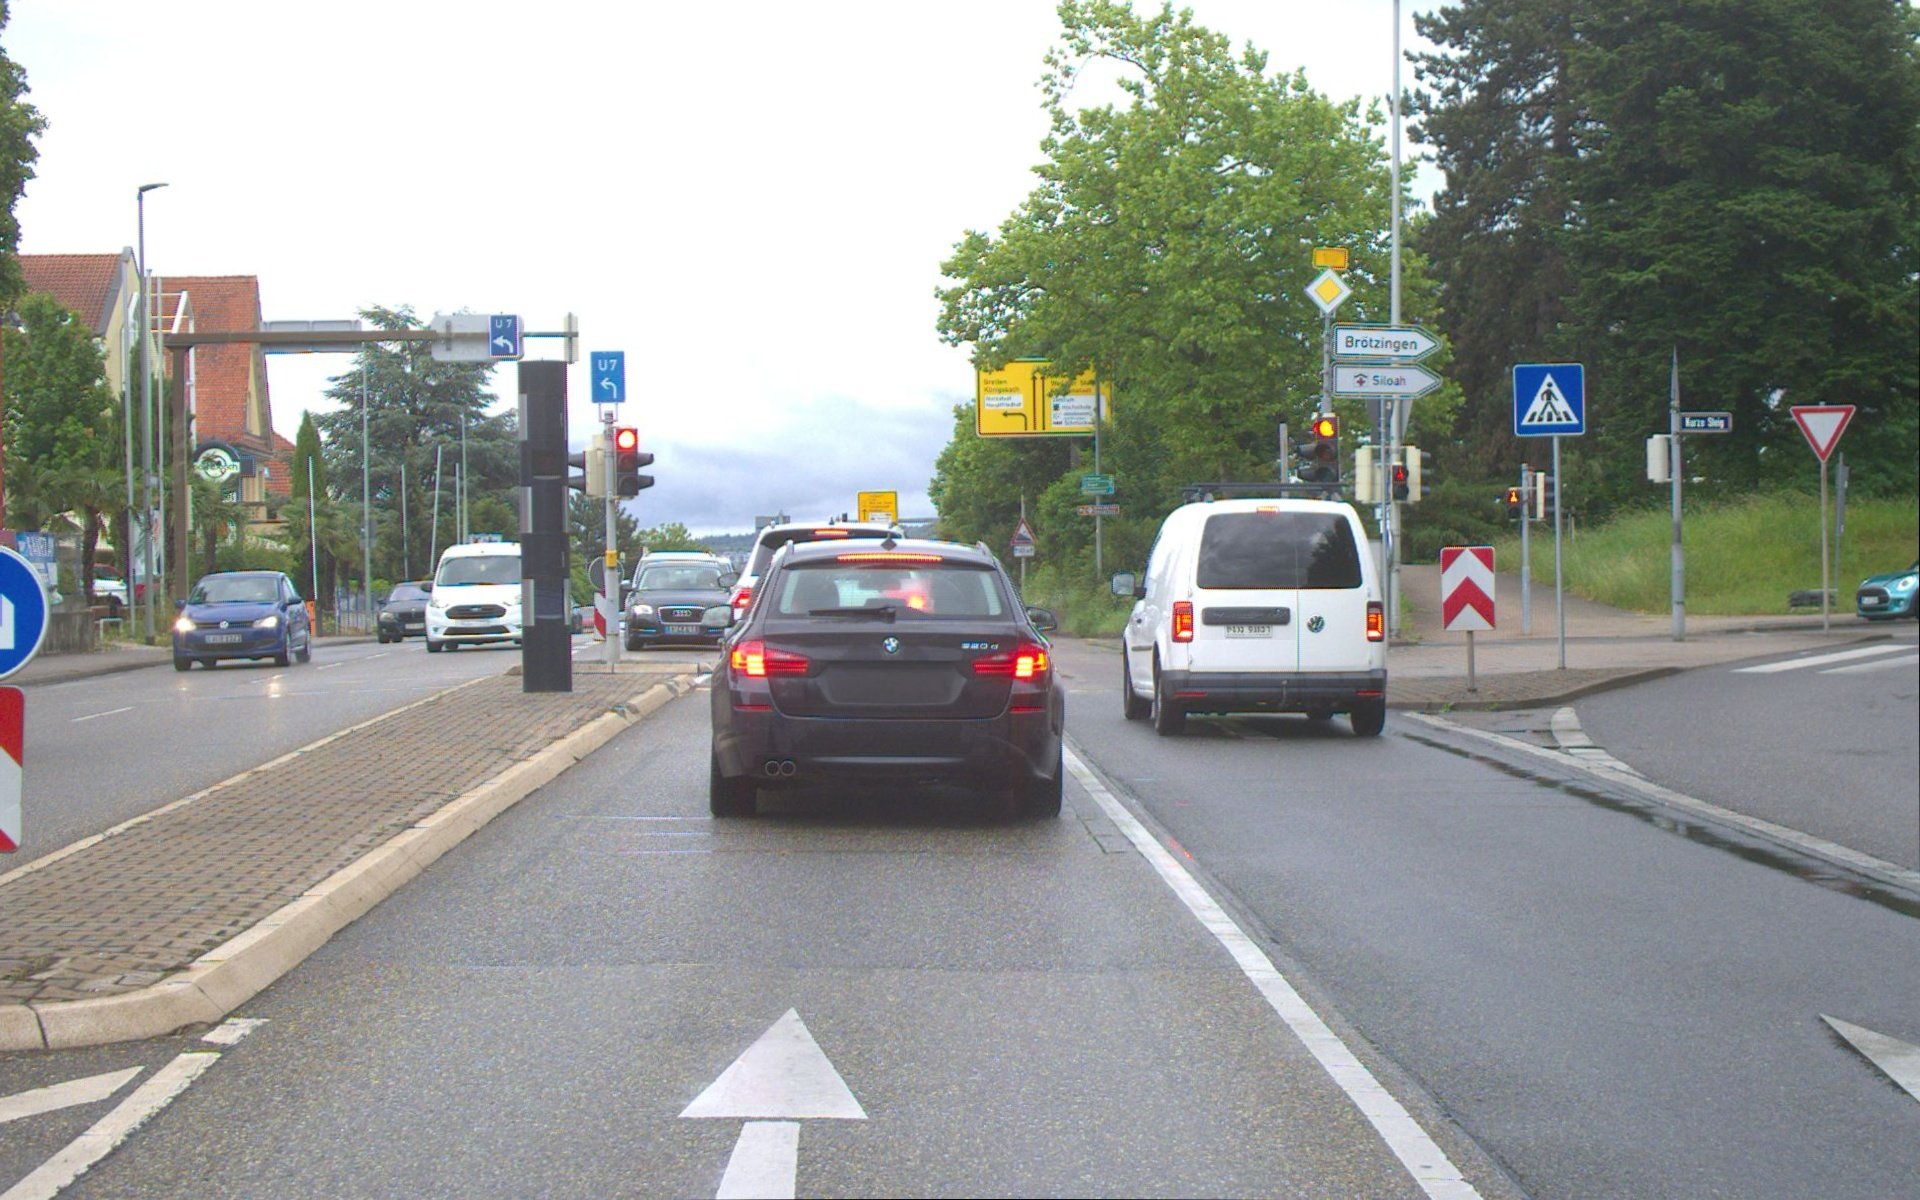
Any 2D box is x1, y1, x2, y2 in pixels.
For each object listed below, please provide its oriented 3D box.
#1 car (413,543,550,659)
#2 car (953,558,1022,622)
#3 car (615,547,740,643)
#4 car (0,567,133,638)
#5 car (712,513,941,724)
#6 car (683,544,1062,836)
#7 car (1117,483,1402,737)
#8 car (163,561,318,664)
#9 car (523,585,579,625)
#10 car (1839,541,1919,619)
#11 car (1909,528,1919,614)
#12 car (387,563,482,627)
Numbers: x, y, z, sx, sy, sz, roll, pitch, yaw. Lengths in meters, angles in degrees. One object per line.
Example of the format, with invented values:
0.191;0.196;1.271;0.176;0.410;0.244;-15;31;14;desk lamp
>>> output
-8.136;-0.010;58.804;1.857;1.817;4.580;-3;1;-3;car
0.658;-0.263;83.640;1.600;1.367;3.680;-1;2;0;car
-4.519;-0.088;54.983;1.894;1.451;4.098;-1;1;-5;car
-20.103;0.048;73.869;4.193;1.451;1.801;-2;1;-29;car
-1.101;0.122;29.746;1.728;1.705;3.382;1;1;2;car
-0.394;0.410;18.912;1.855;1.414;3.957;1;1;1;car
2.307;0.028;27.397;1.741;1.863;3.946;1;1;-3;car
-10.751;0.156;51.594;1.634;1.377;3.766;-2;2;-3;car
-14.619;0.171;122.973;1.667;1.349;3.443;-1;1;-2;car
17.965;-0.421;61.694;3.986;1.289;1.609;-3;2;-19;car
18.558;-0.529;58.504;4.315;1.462;1.901;-1;1;-20;car
-12.080;-0.136;79.262;1.667;1.377;4.072;-1;1;-2;car
